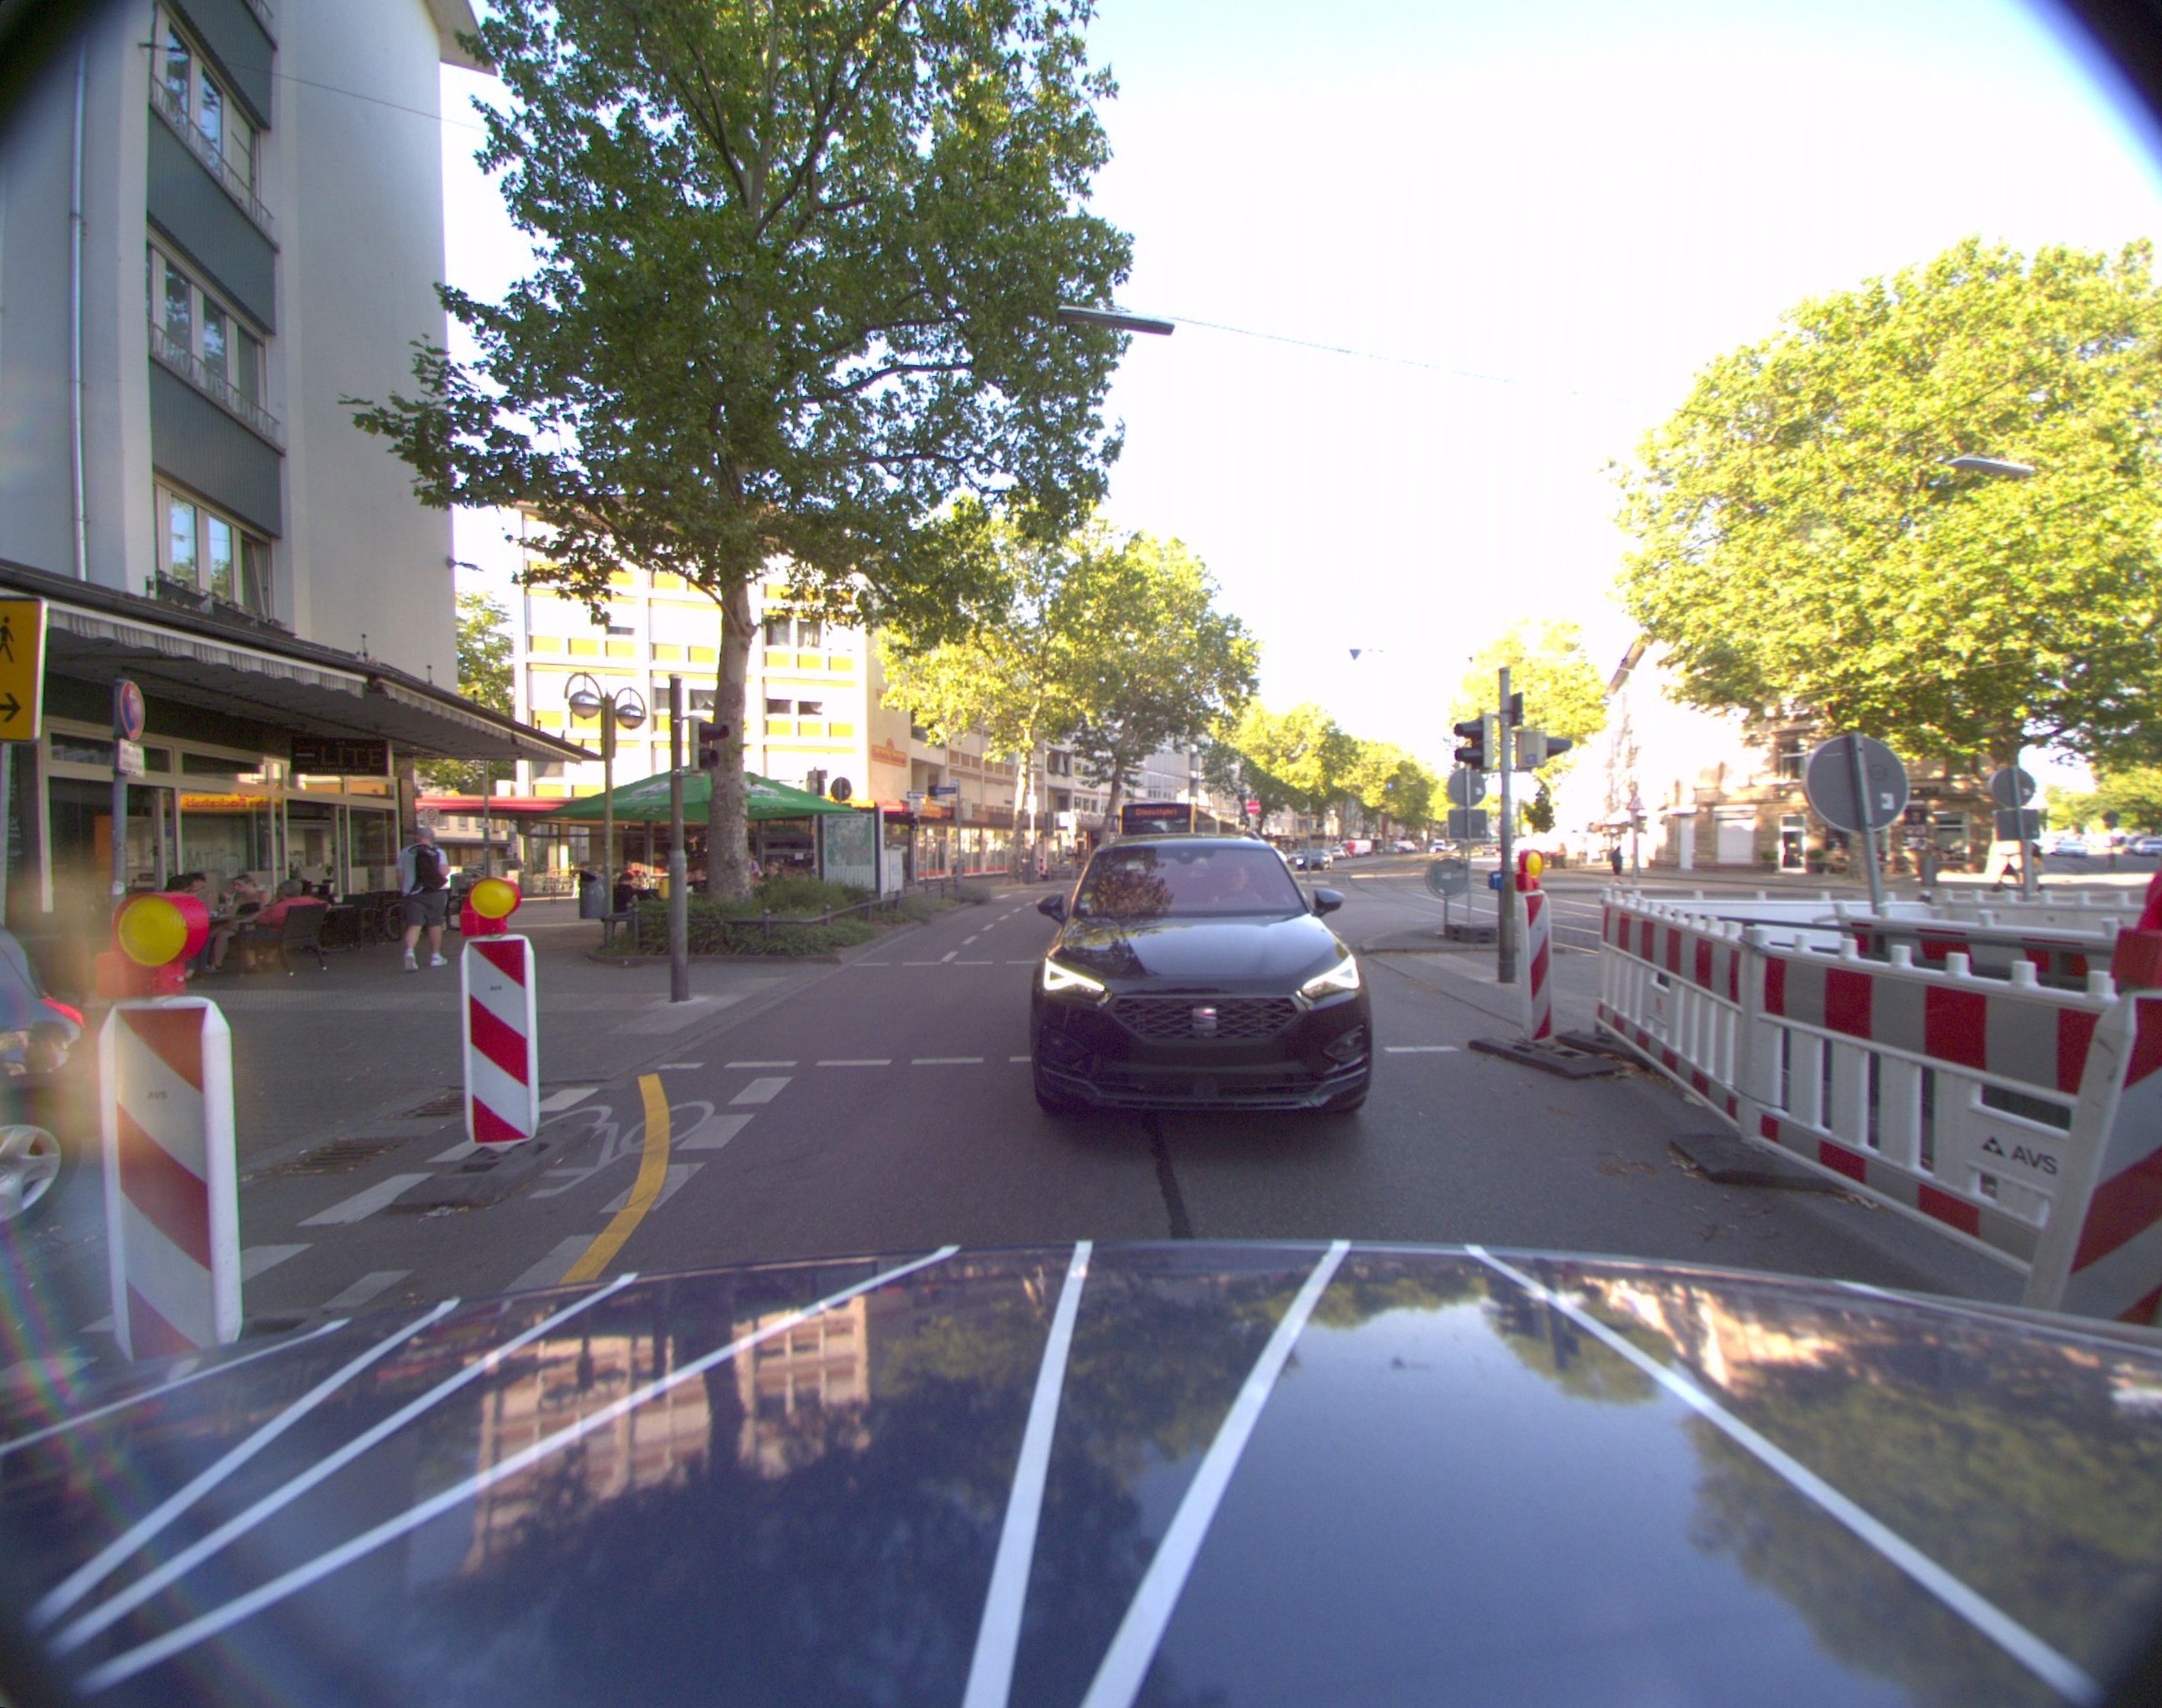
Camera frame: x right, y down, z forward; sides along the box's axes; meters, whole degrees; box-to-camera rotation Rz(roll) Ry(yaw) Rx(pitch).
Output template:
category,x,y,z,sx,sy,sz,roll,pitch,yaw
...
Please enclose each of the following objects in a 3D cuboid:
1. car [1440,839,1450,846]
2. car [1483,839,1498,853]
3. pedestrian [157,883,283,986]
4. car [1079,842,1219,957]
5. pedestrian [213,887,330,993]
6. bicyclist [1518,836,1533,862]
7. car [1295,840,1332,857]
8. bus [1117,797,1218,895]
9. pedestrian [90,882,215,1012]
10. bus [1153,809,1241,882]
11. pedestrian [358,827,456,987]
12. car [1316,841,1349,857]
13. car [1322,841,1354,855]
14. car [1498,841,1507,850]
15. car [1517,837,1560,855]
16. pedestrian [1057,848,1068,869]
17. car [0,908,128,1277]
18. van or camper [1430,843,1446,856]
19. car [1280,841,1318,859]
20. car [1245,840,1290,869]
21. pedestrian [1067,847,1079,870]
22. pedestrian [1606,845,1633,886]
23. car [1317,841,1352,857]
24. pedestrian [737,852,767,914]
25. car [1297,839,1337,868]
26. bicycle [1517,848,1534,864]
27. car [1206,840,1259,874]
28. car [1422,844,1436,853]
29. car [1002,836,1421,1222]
category,x,y,z,sx,sy,sz,roll,pitch,yaw
car,83.862,-2.618,174.941,1.700,1.462,3.771,0,1,31
car,60.547,-1.210,112.329,1.994,2.002,4.007,0,1,29
pedestrian,-10.764,0.982,9.526,0.647,1.186,0.792,0,1,7
car,1.011,0.641,12.961,1.998,1.634,4.075,-1,1,1
pedestrian,-9.913,1.015,9.311,0.877,1.186,0.701,0,1,24
bicyclist,34.094,-0.363,58.258,0.854,2.002,0.985,0,1,20
car,28.303,-0.693,92.582,3.994,2.002,2.001,-1,1,8
bus,3.476,-0.291,28.276,2.718,3.088,8.629,0,1,13
pedestrian,-10.192,0.982,8.346,0.789,1.299,0.701,0,1,28
bus,5.809,-0.418,36.739,2.717,3.088,8.608,0,1,19
pedestrian,-8.614,0.637,9.753,0.649,1.948,0.888,-1,1,-23
car,34.209,-0.689,103.589,3.994,2.002,2.001,-1,1,8
car,36.432,-0.850,107.609,3.994,2.002,2.001,-1,1,8
car,89.243,-1.771,160.962,1.686,1.841,4.007,0,1,29
car,52.320,-0.959,86.874,4.001,2.002,1.997,-1,1,-13
pedestrian,-1.299,0.330,53.327,0.627,1.429,0.532,0,1,20
car,-5.227,0.977,1.660,1.771,1.459,3.610,2,1,-2
van or camper,73.942,-0.979,157.284,2.420,2.702,6.144,0,1,32
car,24.408,-0.415,84.947,3.991,2.002,2.003,0,1,18
car,13.540,0.019,55.033,1.994,2.002,4.008,0,1,33
pedestrian,-0.552,0.318,53.094,0.627,1.577,0.532,0,1,20
pedestrian,20.300,0.431,28.659,0.603,1.524,0.745,0,1,12
car,32.884,-0.689,98.503,3.994,2.002,2.001,-1,1,8
pedestrian,-8.890,0.773,20.558,0.629,1.628,0.531,-1,1,-15
car,16.551,-0.059,53.230,1.995,2.002,4.007,0,1,27
bicycle,34.057,0.148,58.276,0.850,1.186,2.470,0,1,24
car,9.229,0.148,46.002,1.995,2.002,4.105,0,1,29
car,63.344,-1.050,138.413,1.836,1.692,4.138,0,1,31
car,0.605,0.760,5.356,1.841,1.696,4.000,-1,1,1
